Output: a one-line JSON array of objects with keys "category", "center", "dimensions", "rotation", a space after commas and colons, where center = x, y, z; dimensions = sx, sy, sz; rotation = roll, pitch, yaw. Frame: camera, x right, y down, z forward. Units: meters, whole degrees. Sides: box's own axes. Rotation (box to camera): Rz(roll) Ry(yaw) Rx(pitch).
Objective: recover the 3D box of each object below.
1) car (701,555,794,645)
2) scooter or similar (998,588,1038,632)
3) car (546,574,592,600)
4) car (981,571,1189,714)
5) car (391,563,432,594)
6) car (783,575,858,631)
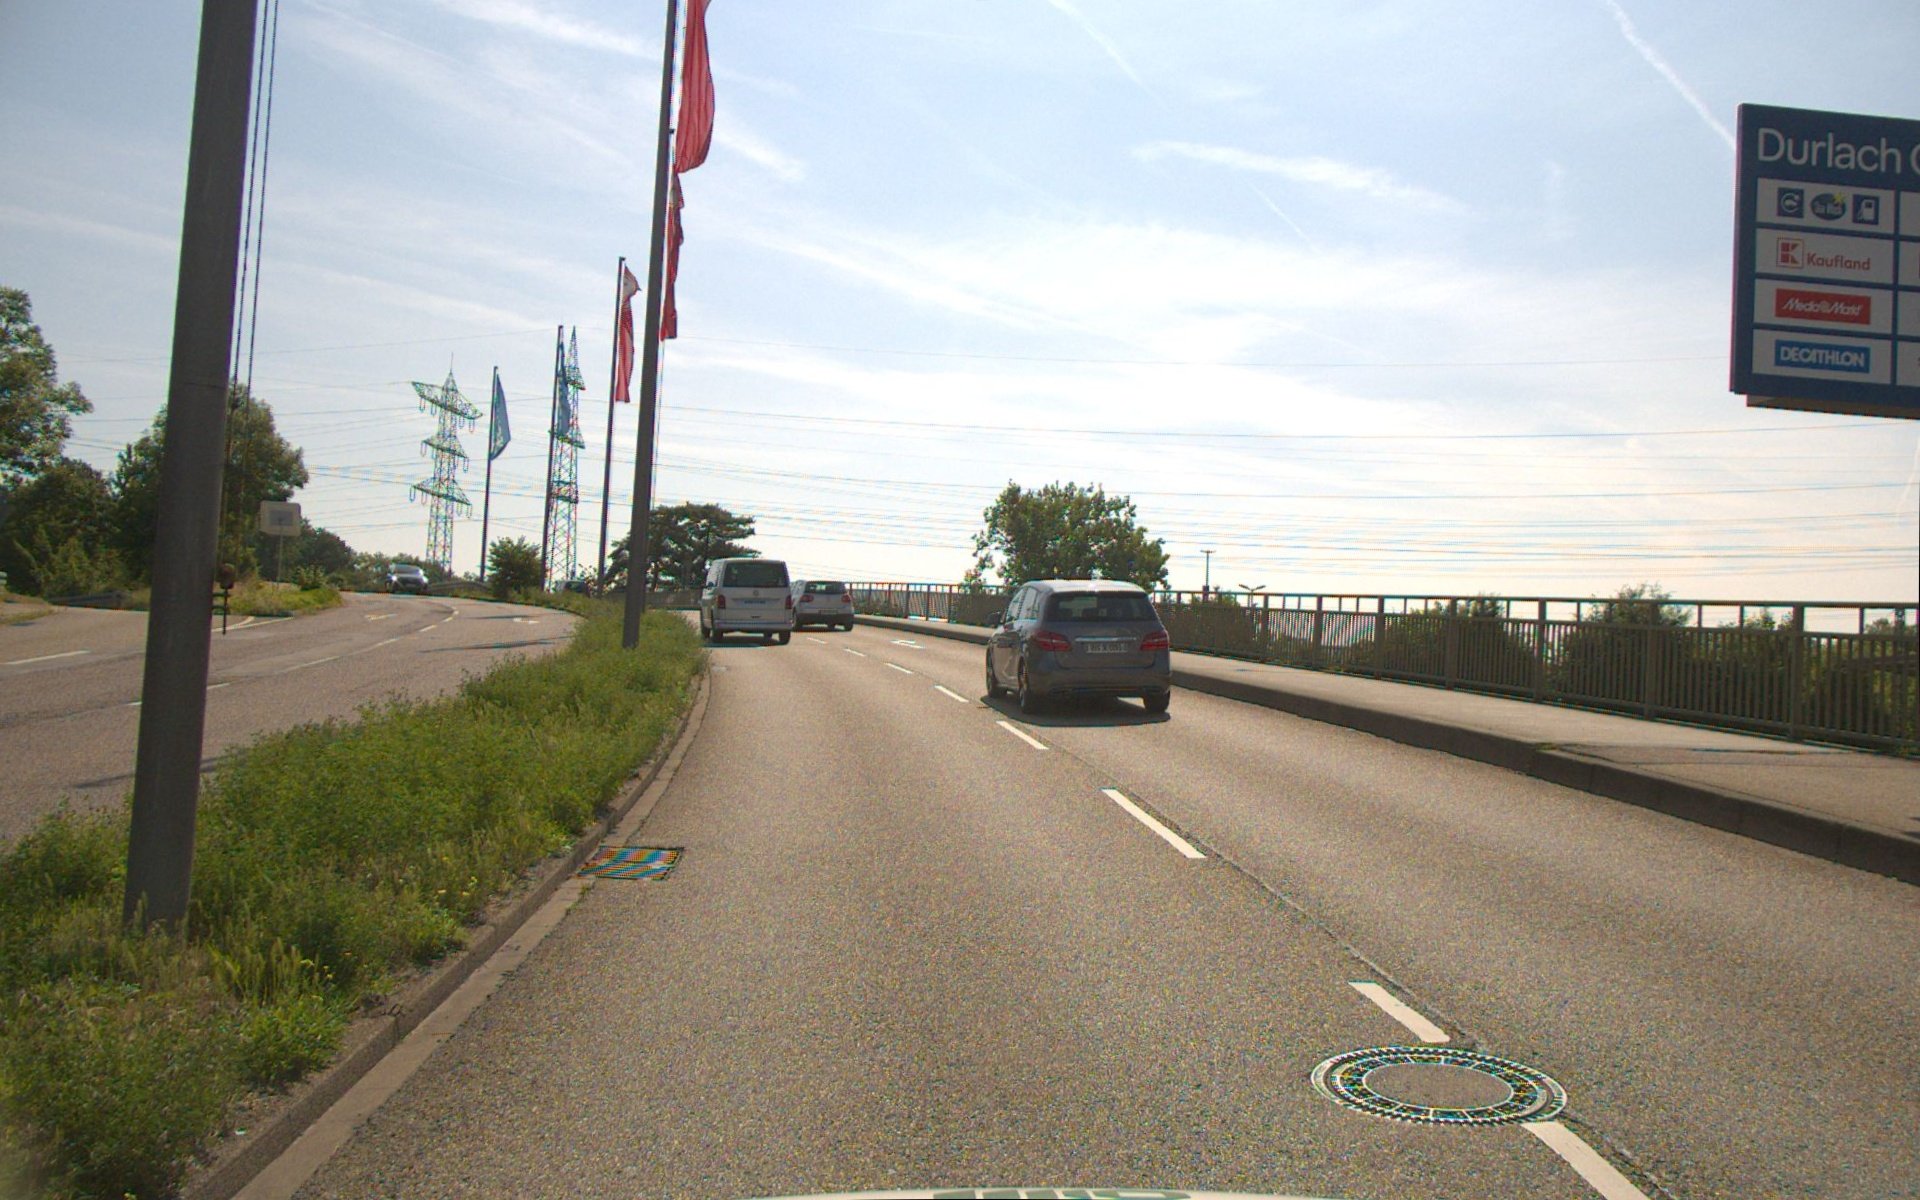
[{"category": "car", "center": [-5.162, -0.040, 39.781], "dimensions": [2.002, 2.048, 3.990], "rotation": [0, 1, -11]}, {"category": "scooter or similar", "center": [1.589, 0.261, 45.852], "dimensions": [0.504, 1.162, 1.472], "rotation": [3, 0, -22]}, {"category": "car", "center": [-21.381, -0.727, 90.384], "dimensions": [1.750, 1.355, 3.713], "rotation": [2, 0, -24]}, {"category": "car", "center": [1.442, 0.513, 20.722], "dimensions": [1.821, 1.556, 4.138], "rotation": [2, -1, -6]}, {"category": "car", "center": [-28.334, -1.113, 85.373], "dimensions": [1.759, 1.510, 4.231], "rotation": [0, 1, -23]}, {"category": "car", "center": [-4.145, 0.054, 48.814], "dimensions": [1.823, 1.556, 4.134], "rotation": [0, 1, -10]}]
